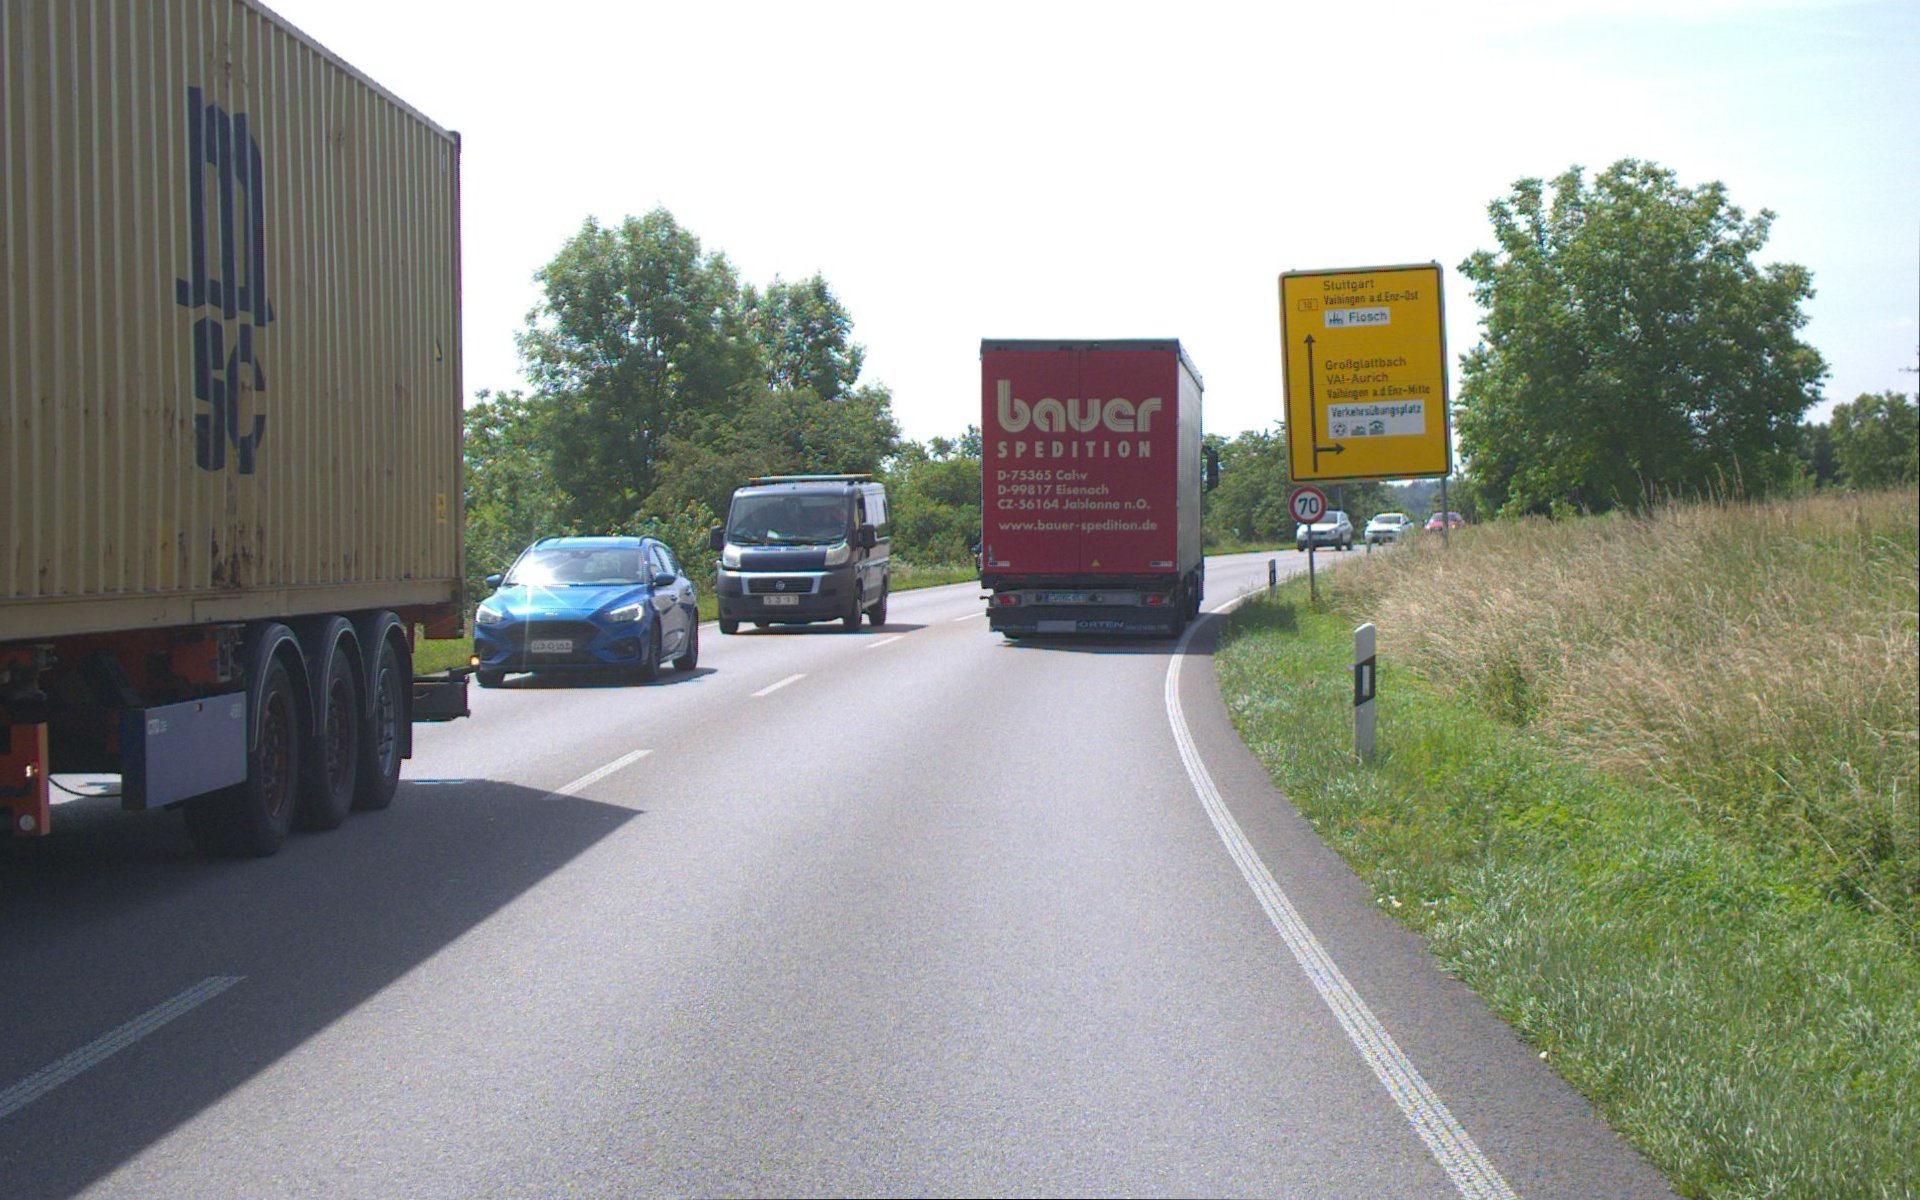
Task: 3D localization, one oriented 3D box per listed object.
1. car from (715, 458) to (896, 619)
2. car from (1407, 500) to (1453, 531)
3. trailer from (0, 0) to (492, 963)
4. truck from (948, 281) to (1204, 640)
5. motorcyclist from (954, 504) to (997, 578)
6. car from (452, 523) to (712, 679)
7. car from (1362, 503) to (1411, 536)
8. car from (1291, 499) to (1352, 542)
[{"bbox_3d":[-2.249,-0.935,51.419,2.171,2.295,4.906,0,1,4],"label":"car"},{"bbox_3d":[23.525,-4.242,172.010,1.821,1.393,4.180,-3,1,13],"label":"car"},{"bbox_3d":[-4.658,-0.883,15.785,2.997,4.029,12.917,0,1,1],"label":"trailer"},{"bbox_3d":[1.894,-1.862,49.634,3.113,4.490,12.166,1,1,4],"label":"truck"},{"bbox_3d":[0.375,-1.369,80.182,0.918,1.712,0.962,0,1,5],"label":"motorcyclist"},{"bbox_3d":[-3.834,-0.036,35.594,1.863,1.480,4.358,-1,1,5],"label":"car"},{"bbox_3d":[19.473,-3.676,157.003,1.752,1.409,3.771,-1,2,14],"label":"car"},{"bbox_3d":[14.901,-3.278,141.602,1.834,1.611,4.360,-3,1,14],"label":"car"}]
